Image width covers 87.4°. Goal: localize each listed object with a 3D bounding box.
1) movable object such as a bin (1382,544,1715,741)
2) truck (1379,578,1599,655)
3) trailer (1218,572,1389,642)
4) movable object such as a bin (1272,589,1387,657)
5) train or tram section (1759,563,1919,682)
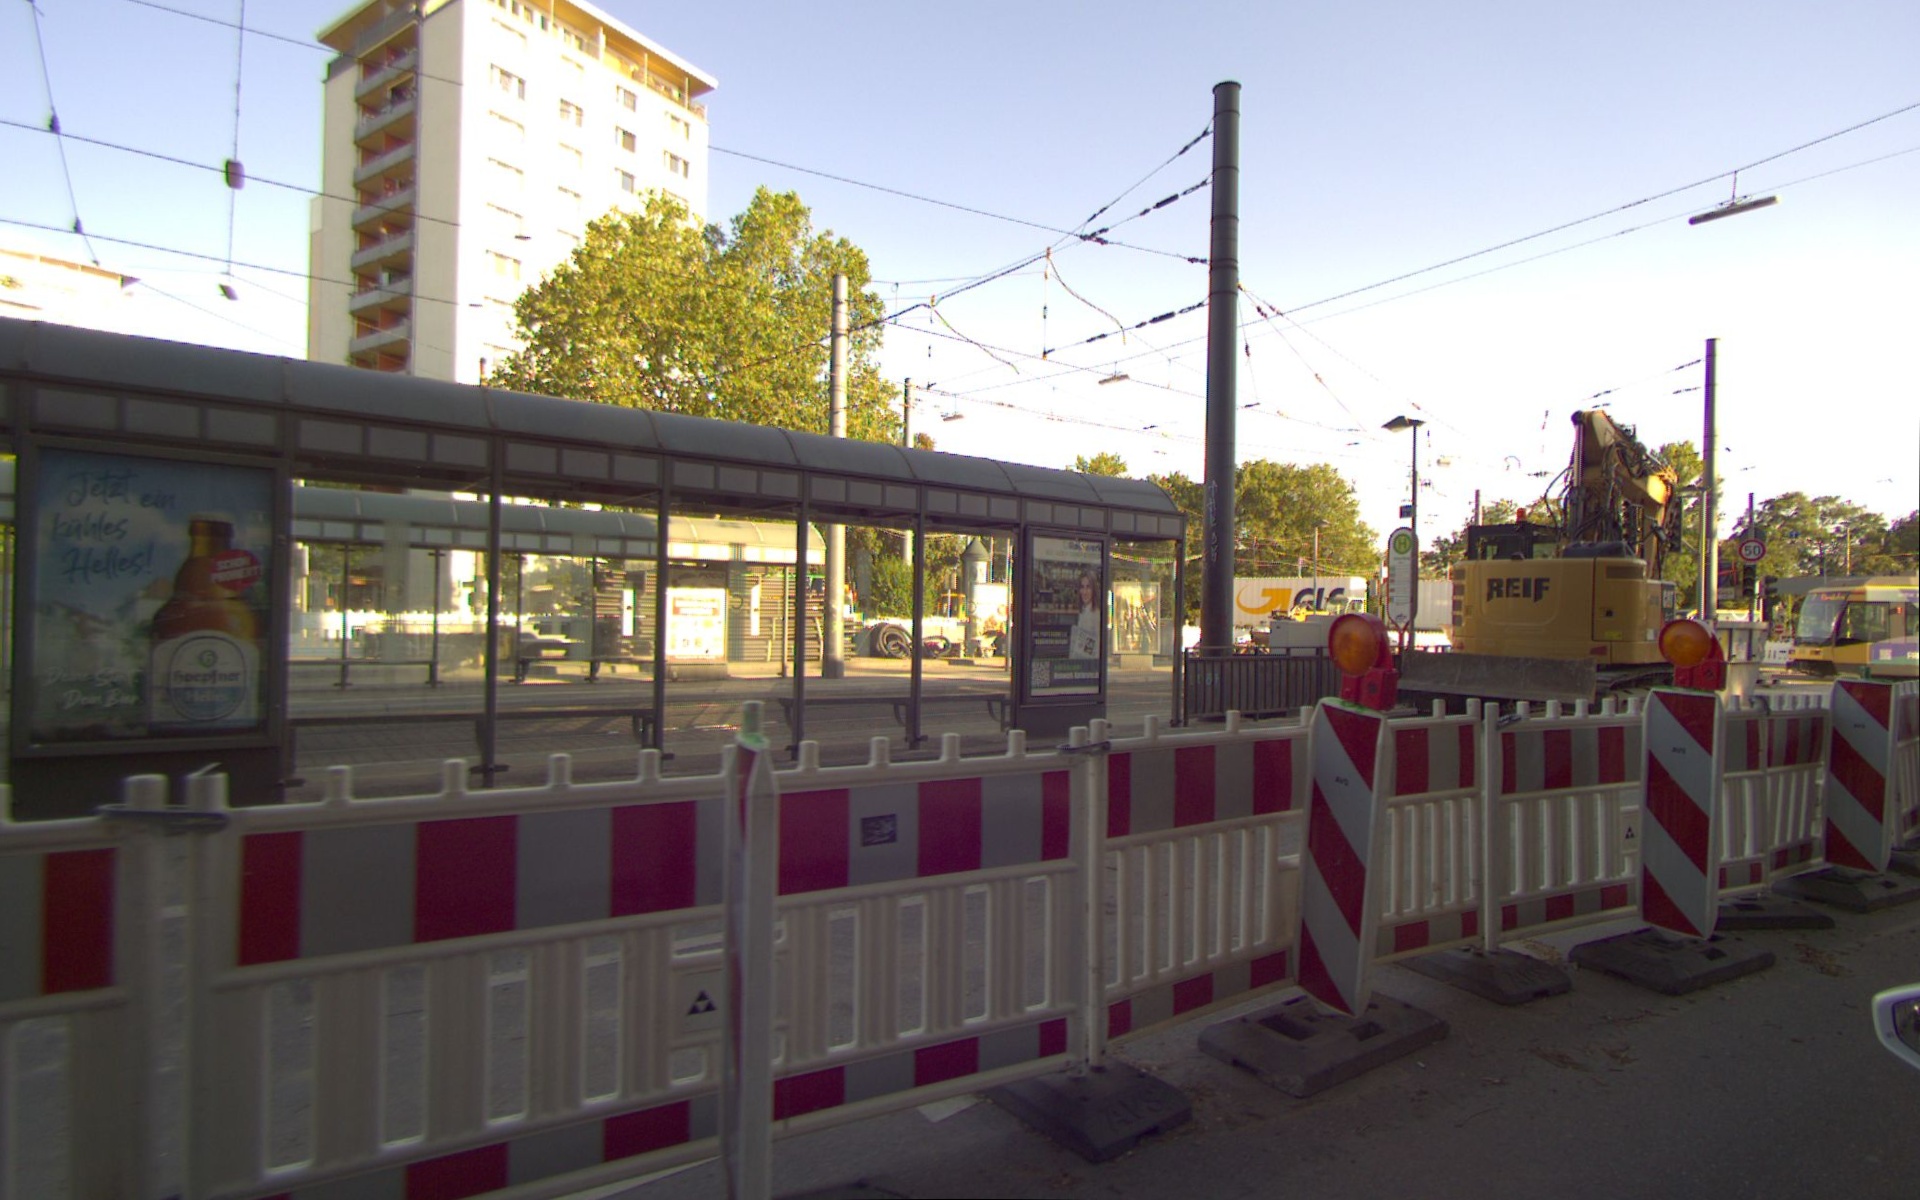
[{"bbox_3d":[8.601,0.543,14.540,4.860,2.348,2.621,1,0,-39],"label":"movable object such as a bin"},{"bbox_3d":[28.450,0.809,54.618,10.237,3.840,2.898,1,-1,26],"label":"truck"},{"bbox_3d":[20.218,0.312,59.578,9.112,3.848,2.881,2,1,42],"label":"trailer"},{"bbox_3d":[15.313,0.969,41.604,4.548,2.674,2.139,2,-1,-32],"label":"movable object such as a bin"},{"bbox_3d":[33.502,0.866,31.838,13.124,3.580,2.861,2,-1,7],"label":"train or tram section"}]
